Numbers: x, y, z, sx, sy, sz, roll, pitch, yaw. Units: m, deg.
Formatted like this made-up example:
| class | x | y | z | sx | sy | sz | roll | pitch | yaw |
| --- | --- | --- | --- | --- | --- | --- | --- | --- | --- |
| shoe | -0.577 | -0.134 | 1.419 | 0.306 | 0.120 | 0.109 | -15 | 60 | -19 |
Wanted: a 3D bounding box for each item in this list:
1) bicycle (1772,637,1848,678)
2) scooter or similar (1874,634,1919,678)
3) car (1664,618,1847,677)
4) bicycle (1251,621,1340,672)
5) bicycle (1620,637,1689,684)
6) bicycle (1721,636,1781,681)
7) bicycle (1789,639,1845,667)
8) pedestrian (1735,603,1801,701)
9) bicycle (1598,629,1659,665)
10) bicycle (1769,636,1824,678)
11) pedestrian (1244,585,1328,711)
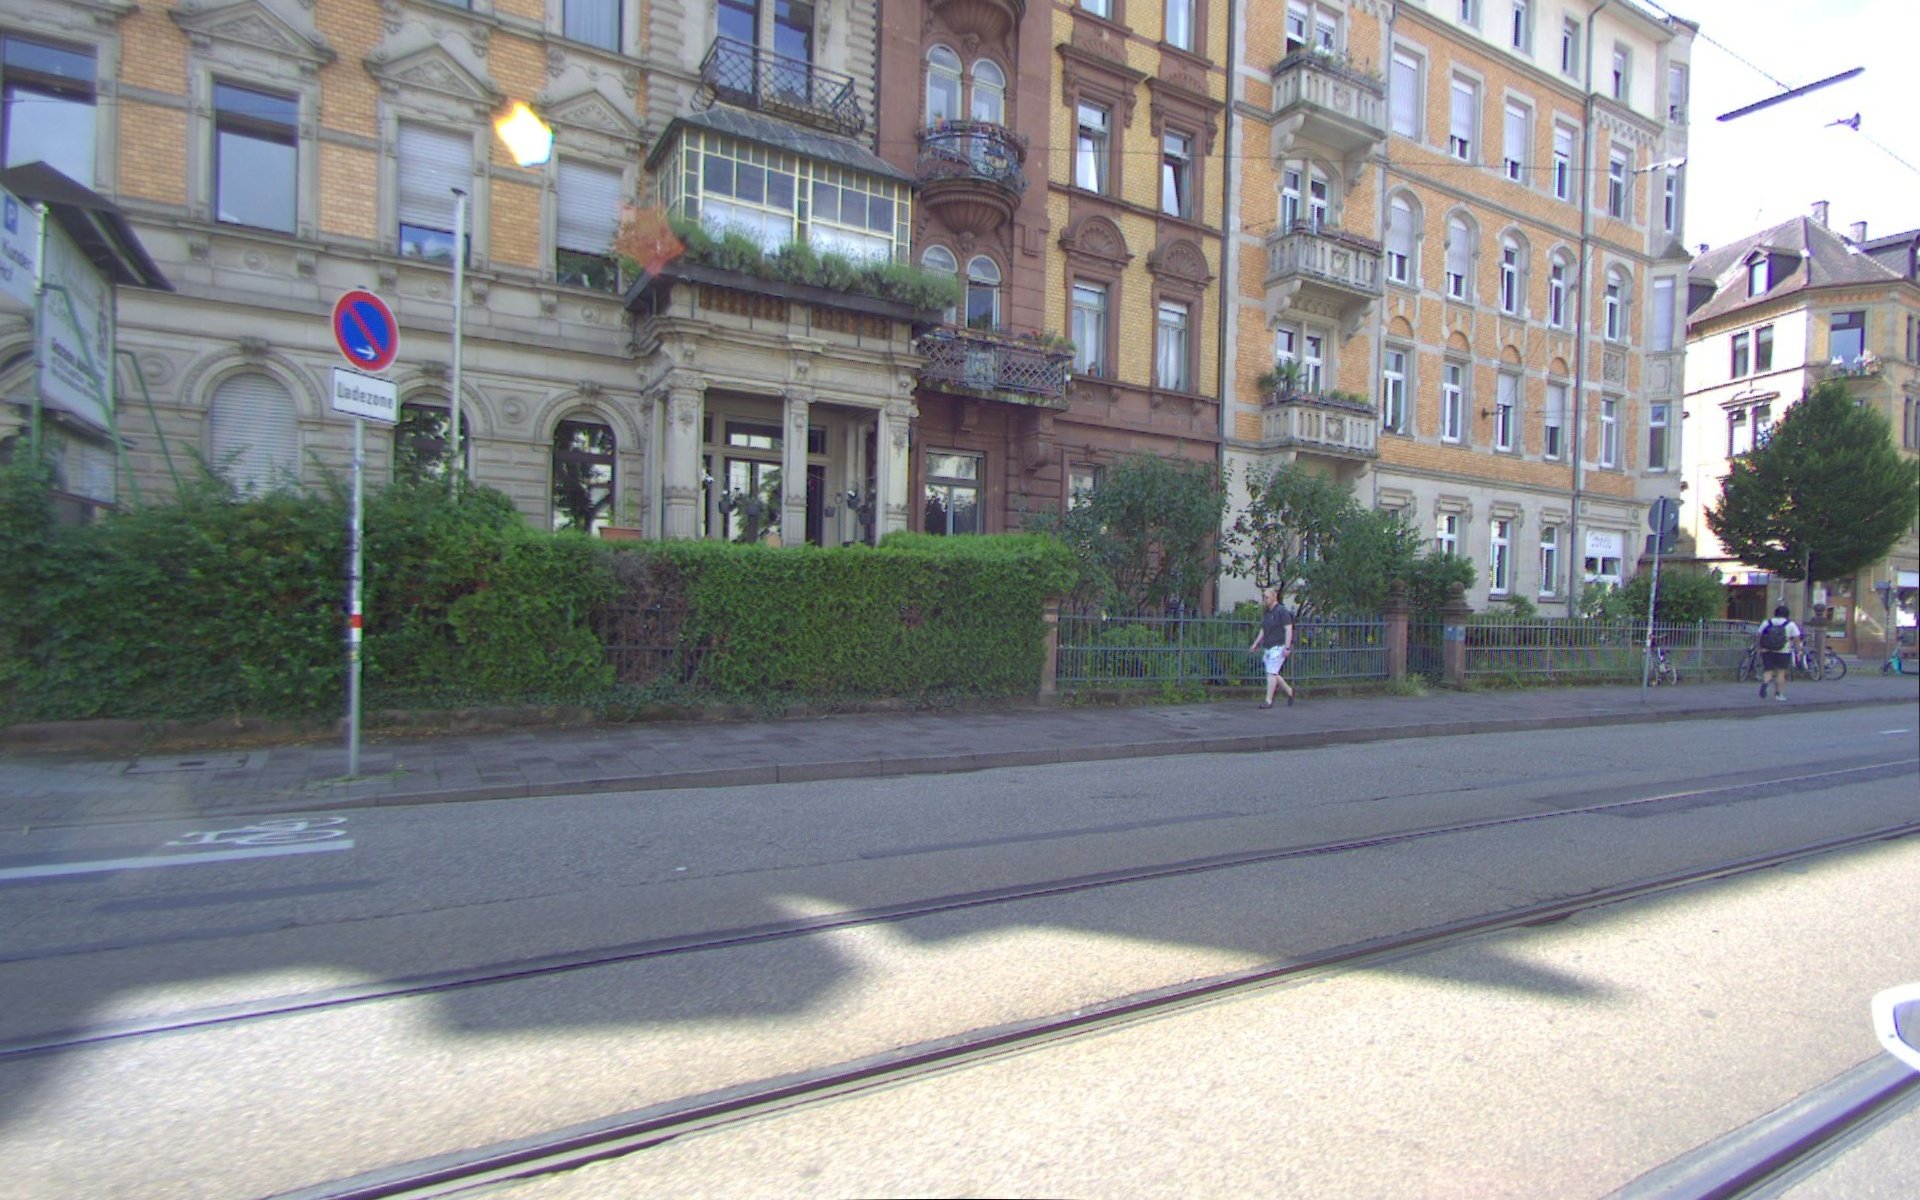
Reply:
| class | x | y | z | sx | sy | sz | roll | pitch | yaw |
| --- | --- | --- | --- | --- | --- | --- | --- | --- | --- |
| bicycle | 21.792 | 1.461 | 25.775 | 0.399 | 0.990 | 1.446 | 1 | 0 | -29 |
| scooter or similar | 28.843 | 1.709 | 30.621 | 1.342 | 1.251 | 0.403 | 3 | 1 | 32 |
| car | 22.171 | 1.285 | 28.143 | 1.763 | 1.422 | 3.592 | 1 | 1 | -25 |
| bicycle | 6.861 | 0.932 | 20.631 | 0.418 | 0.945 | 1.933 | 1 | 0 | -31 |
| bicycle | 14.669 | 1.261 | 21.205 | 1.927 | 0.945 | 0.419 | 2 | 0 | -31 |
| bicycle | 18.372 | 1.342 | 23.322 | 1.927 | 0.989 | 0.419 | 2 | 0 | -31 |
| bicycle | 27.334 | 1.686 | 32.033 | 1.671 | 0.849 | 0.522 | 1 | 1 | -17 |
| pedestrian | 15.355 | 0.973 | 19.087 | 1.093 | 1.784 | 0.530 | 1 | 2 | -31 |
| bicycle | 19.557 | 1.355 | 29.399 | 0.399 | 0.990 | 1.446 | 1 | 0 | -29 |
| bicycle | 20.646 | 1.408 | 24.774 | 1.927 | 0.989 | 0.419 | 2 | 0 | -31 |
| pedestrian | 4.657 | 0.675 | 14.319 | 1.139 | 1.726 | 0.485 | 1 | 1 | -33 |
